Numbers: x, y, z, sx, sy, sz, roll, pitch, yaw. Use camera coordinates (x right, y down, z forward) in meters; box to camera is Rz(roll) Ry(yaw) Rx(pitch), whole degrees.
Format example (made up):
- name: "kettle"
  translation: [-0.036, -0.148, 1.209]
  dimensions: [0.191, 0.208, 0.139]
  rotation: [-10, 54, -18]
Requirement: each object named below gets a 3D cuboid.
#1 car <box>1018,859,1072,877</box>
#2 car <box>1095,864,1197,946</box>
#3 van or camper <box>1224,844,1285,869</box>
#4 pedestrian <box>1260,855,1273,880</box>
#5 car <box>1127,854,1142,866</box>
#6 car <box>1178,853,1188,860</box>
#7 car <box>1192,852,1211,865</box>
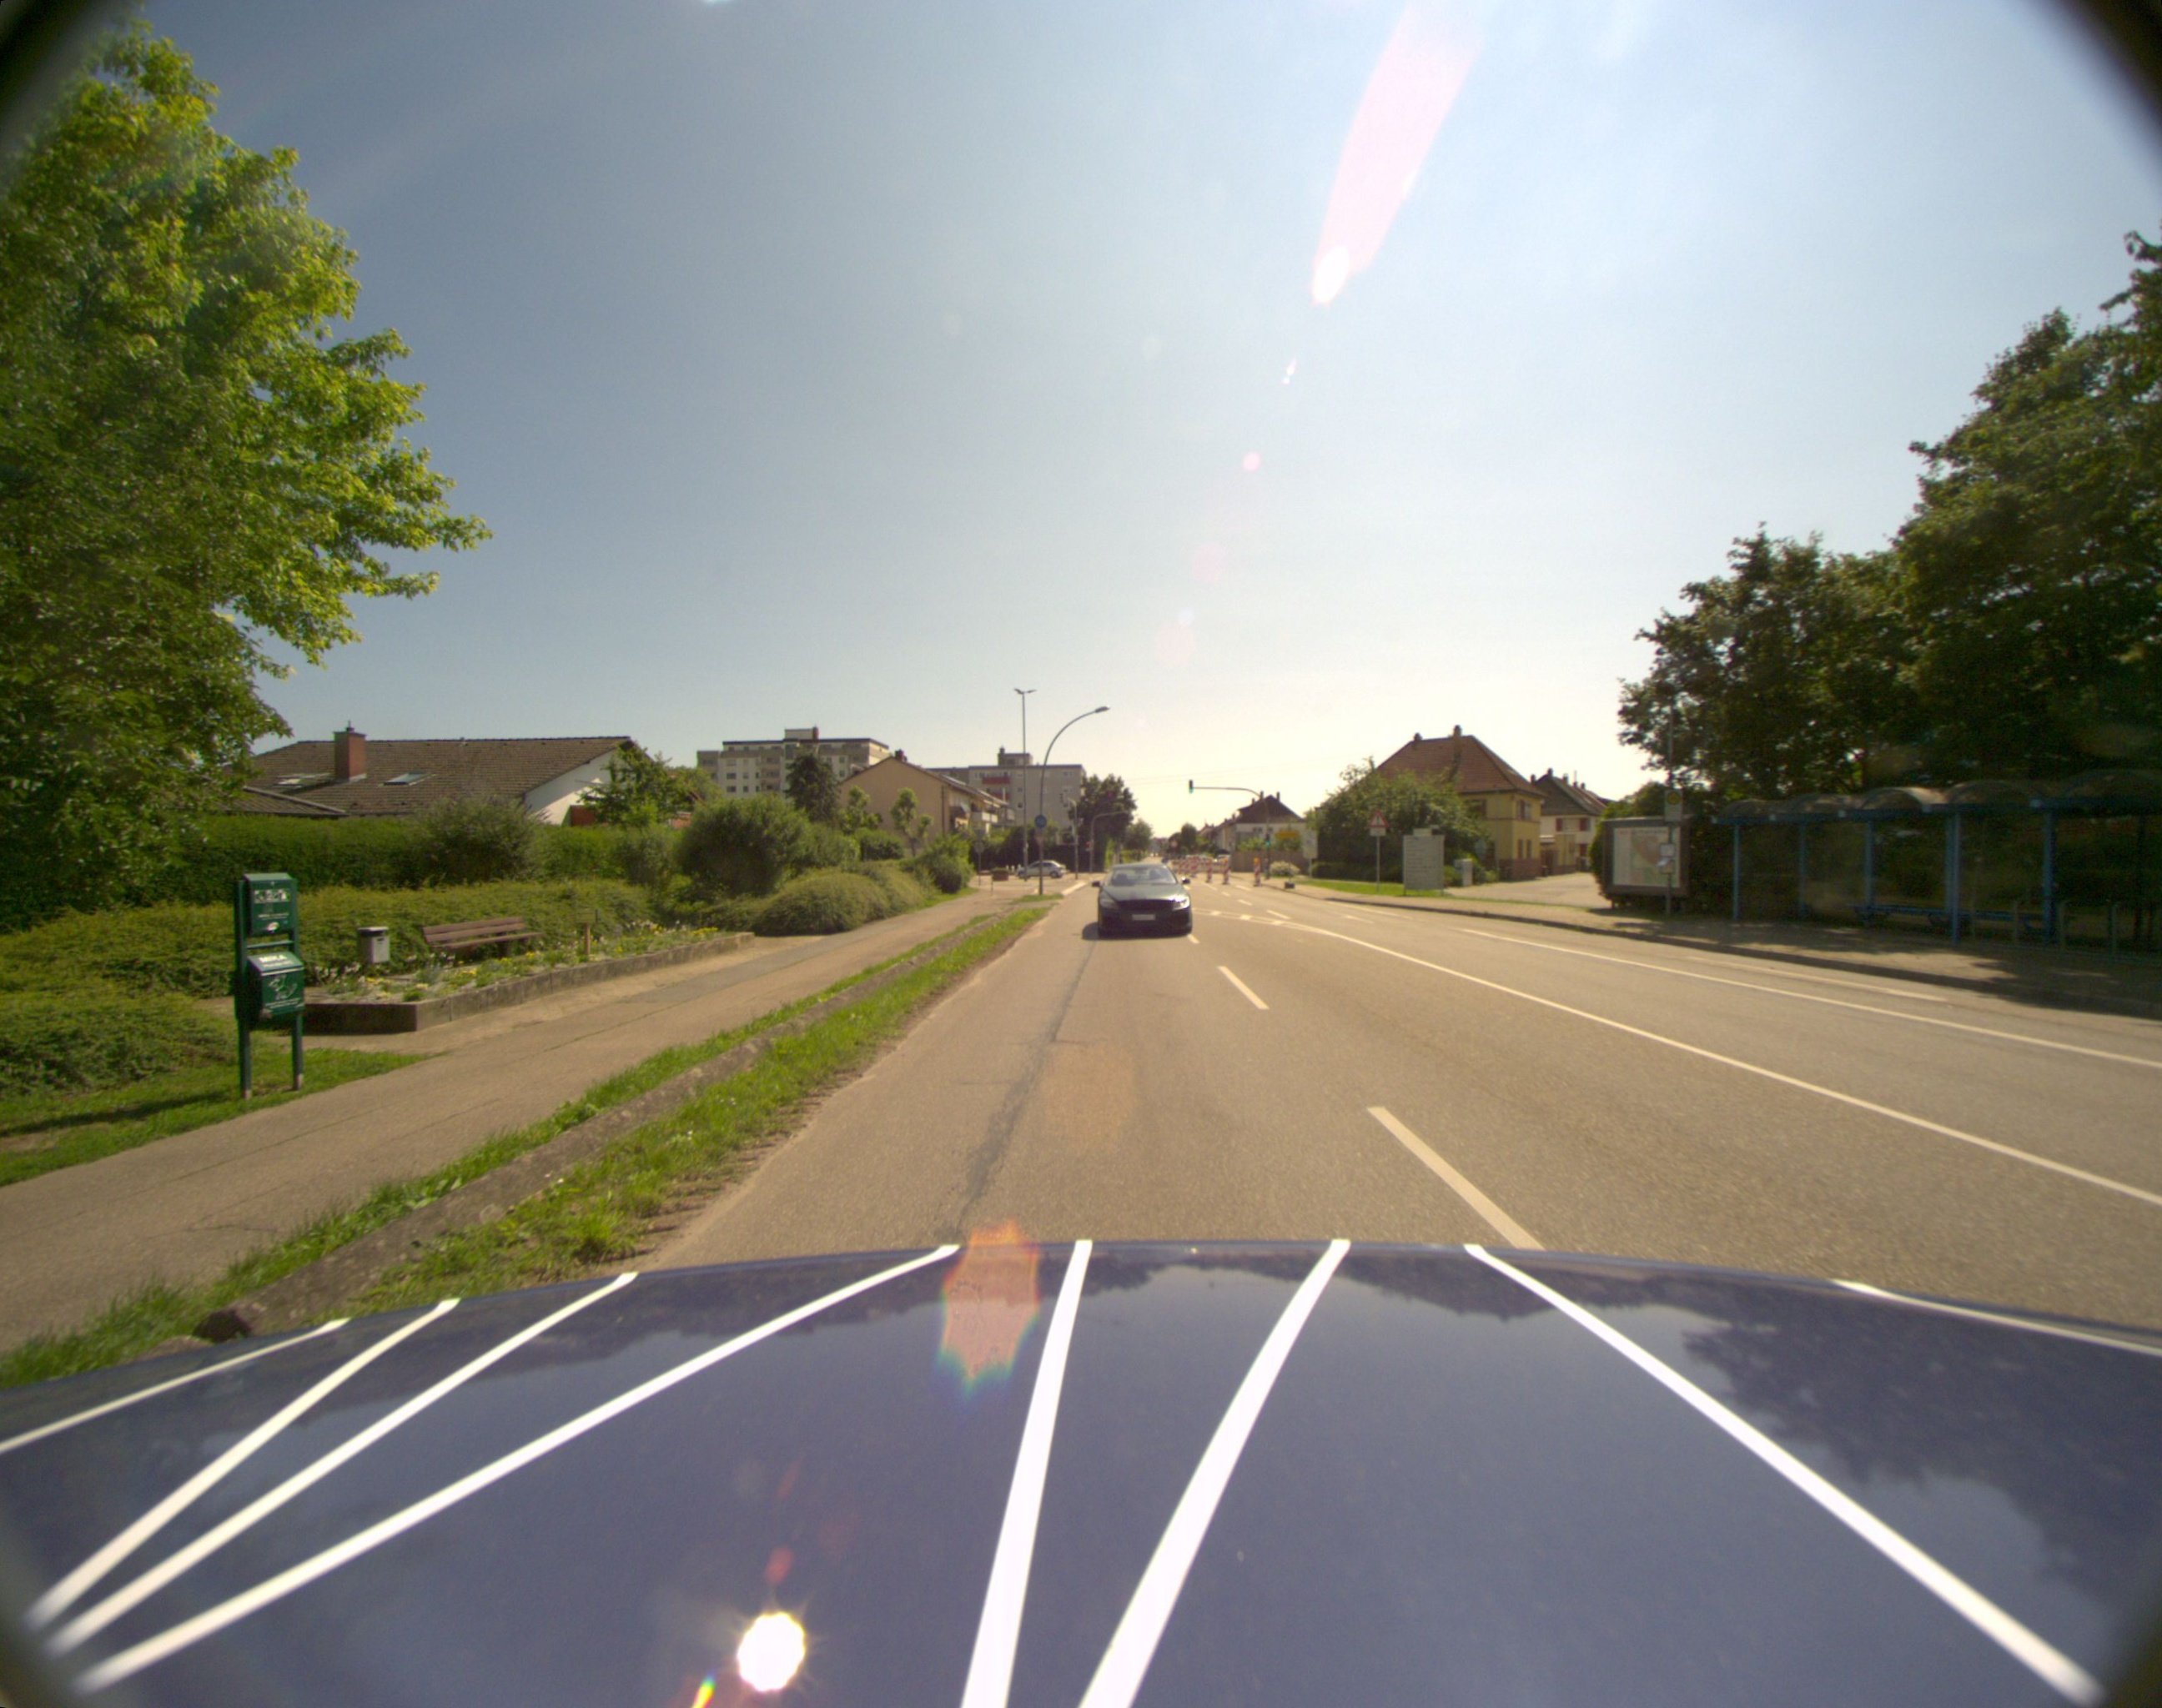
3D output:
- name: "car"
  translation: [-2.879, 1.100, 60.852]
  dimensions: [3.972, 1.395, 1.706]
  rotation: [0, 0, 13]
- name: "car"
  translation: [1.364, 1.003, 16.796]
  dimensions: [1.888, 1.429, 4.839]
  rotation: [-1, 0, 3]
- name: "van or camper"
  translation: [19.541, 0.295, 85.801]
  dimensions: [6.260, 2.827, 2.289]
  rotation: [0, 0, -4]
- name: "pedestrian"
  translation: [12.313, 0.899, 50.469]
  dimensions: [0.615, 1.598, 0.688]
  rotation: [-3, 0, 5]
- name: "car"
  translation: [7.130, 0.749, 101.904]
  dimensions: [1.871, 1.585, 4.617]
  rotation: [0, 0, 3]
- name: "car"
  translation: [21.206, 0.455, 158.710]
  dimensions: [1.739, 1.409, 3.917]
  rotation: [0, 0, 3]
- name: "car"
  translation: [15.429, 0.604, 97.406]
  dimensions: [1.862, 1.581, 4.229]
  rotation: [1, 0, 3]
